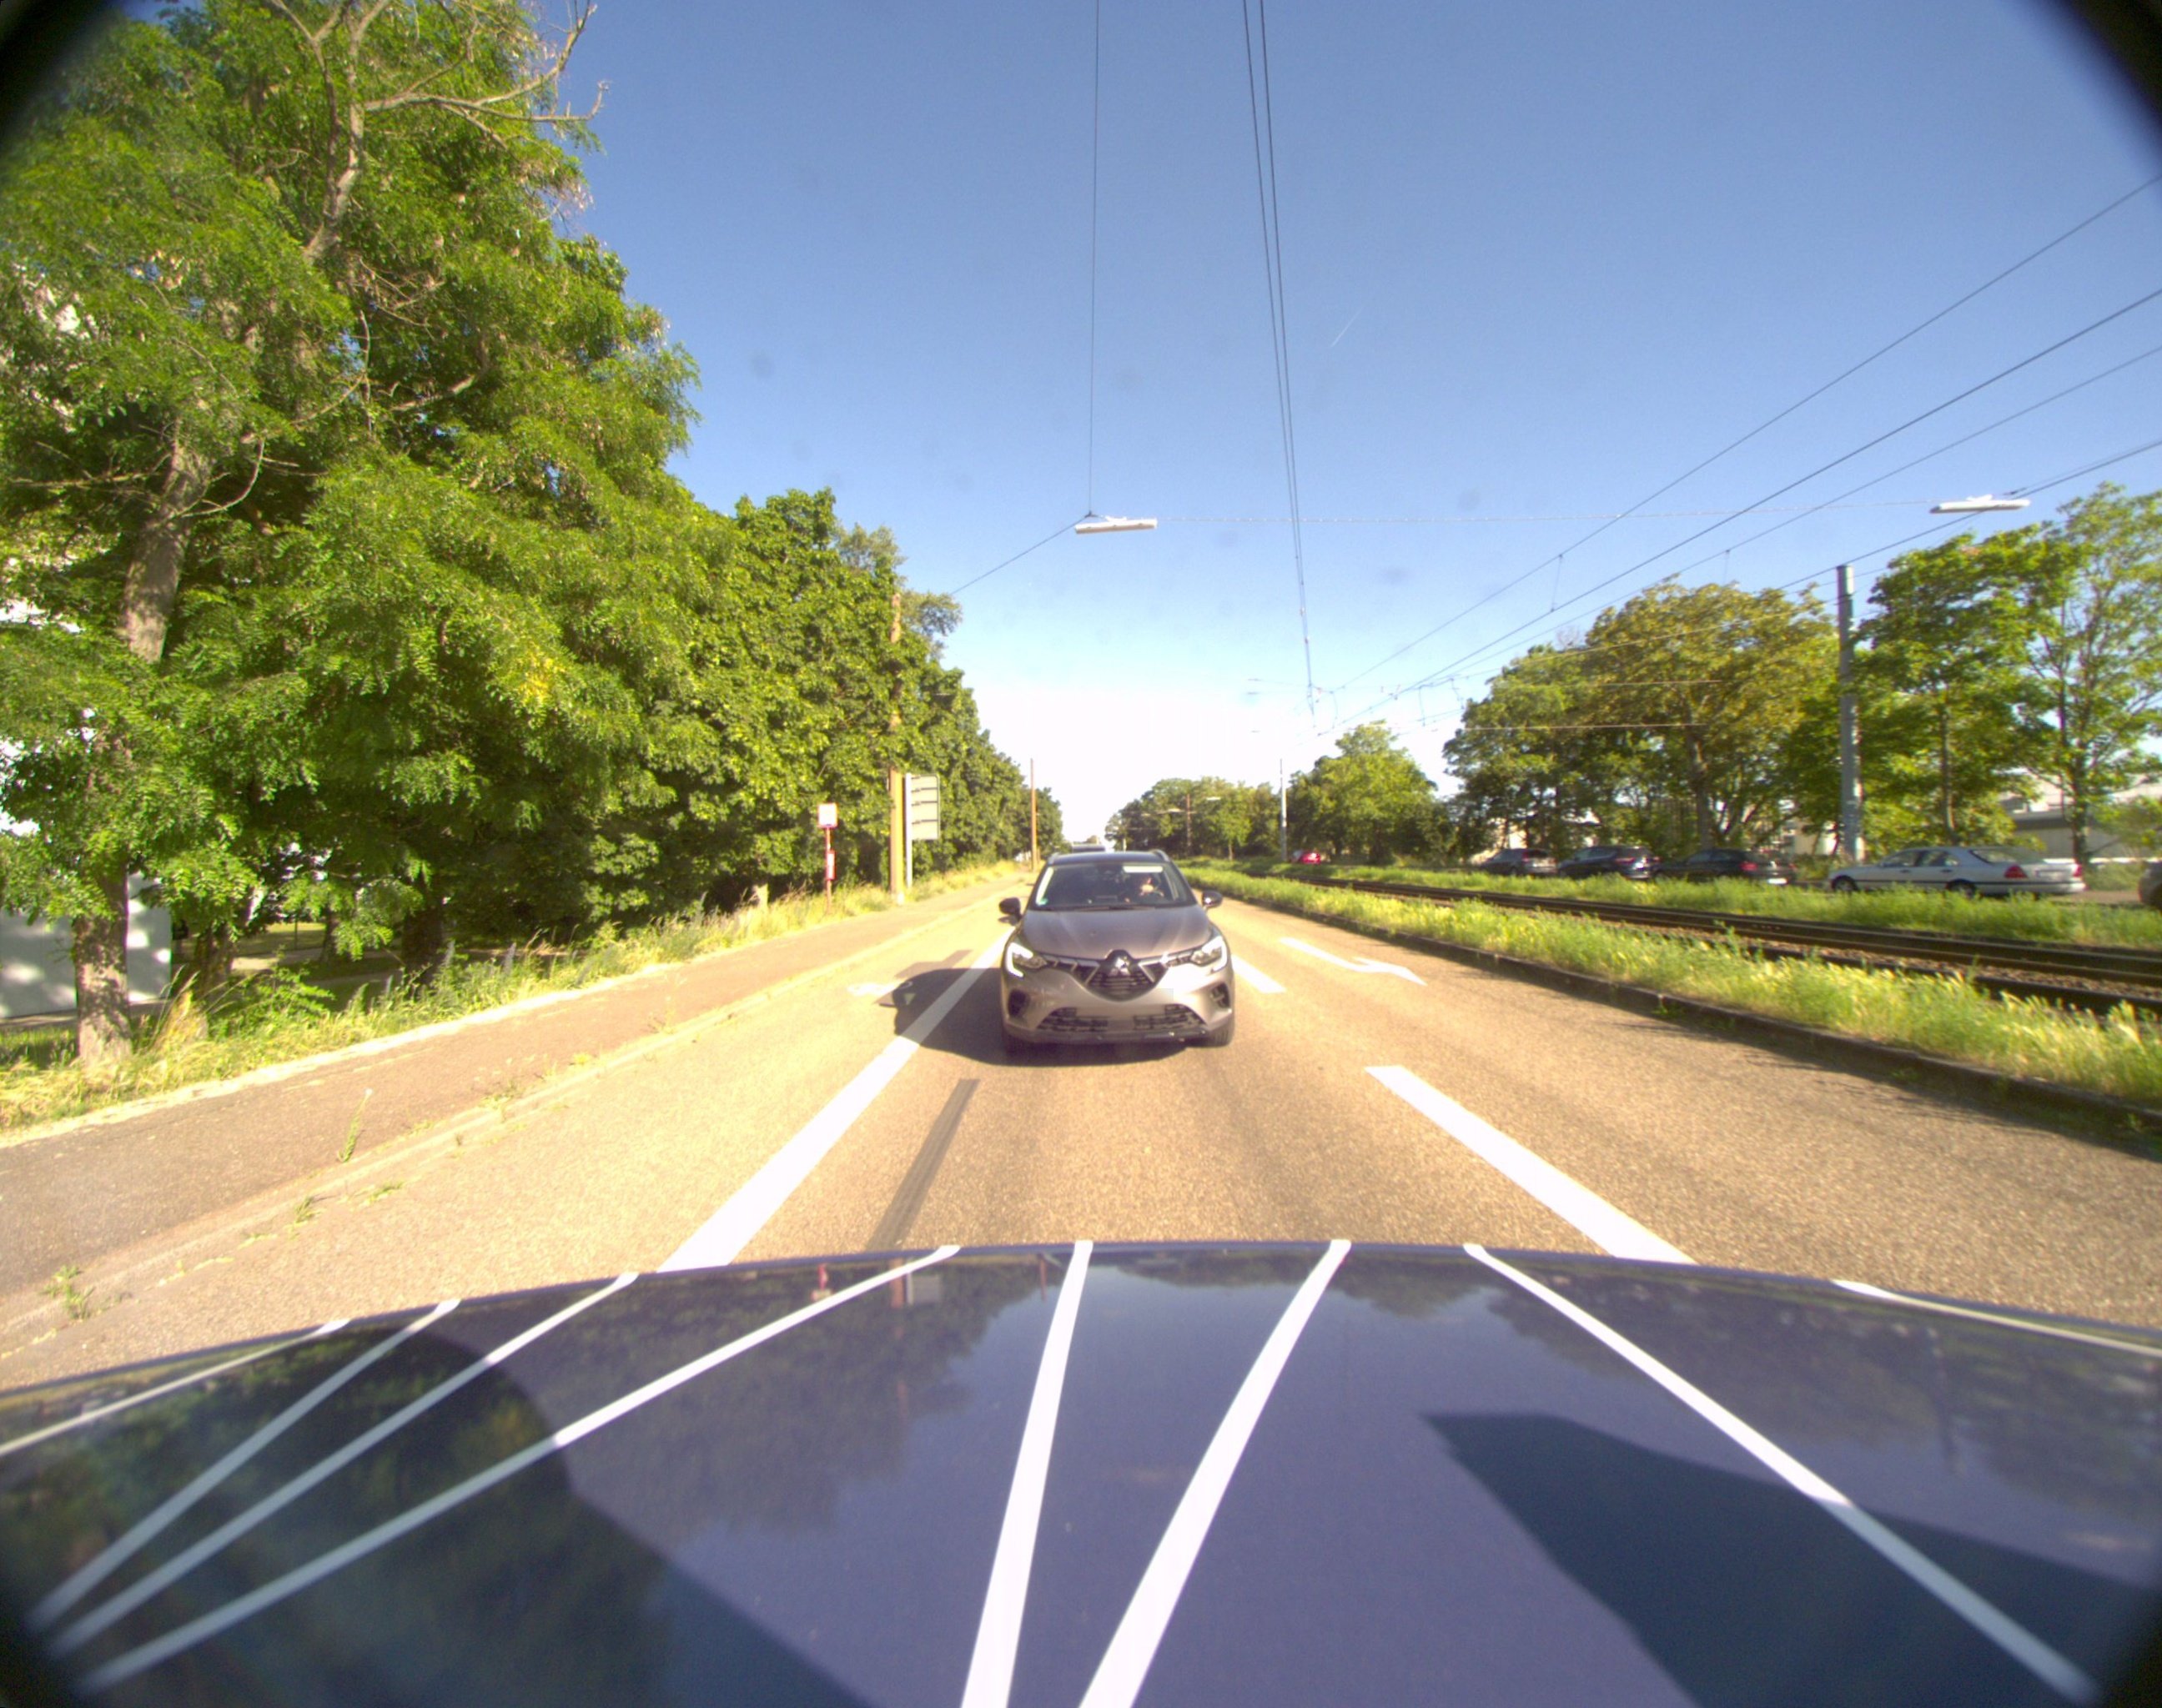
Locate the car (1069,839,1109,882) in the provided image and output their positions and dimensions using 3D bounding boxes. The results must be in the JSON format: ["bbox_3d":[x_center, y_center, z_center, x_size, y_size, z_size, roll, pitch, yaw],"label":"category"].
[{"bbox_3d":[0.372,0.363,41.897,1.999,2.198,4.786,-1,-1,-1],"label":"car"}]

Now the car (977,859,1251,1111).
[{"bbox_3d":[0.180,0.883,7.316,1.796,1.583,4.529,-1,0,-1],"label":"car"}]

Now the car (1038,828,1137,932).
[{"bbox_3d":[0.164,0.549,17.829,1.998,2.113,4.000,-2,0,1],"label":"car"}]

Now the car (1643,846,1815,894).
[{"bbox_3d":[21.345,0.489,25.327,1.960,1.417,4.488,-2,0,1],"label":"car"}]

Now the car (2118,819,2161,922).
[{"bbox_3d":[21.244,0.272,12.433,2.207,1.923,4.685,-2,0,2],"label":"car"}]

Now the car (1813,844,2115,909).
[{"bbox_3d":[21.545,0.504,18.933,2.130,1.372,4.616,-2,0,-1],"label":"car"}]

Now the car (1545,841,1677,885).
[{"bbox_3d":[21.307,0.342,30.824,2.130,1.578,4.616,-2,0,1],"label":"car"}]

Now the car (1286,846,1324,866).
[{"bbox_3d":[21.001,0.187,71.465,2.321,1.723,4.798,-2,0,3],"label":"car"}]

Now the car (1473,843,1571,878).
[{"bbox_3d":[21.565,0.327,37.406,2.130,1.554,4.560,-2,0,0],"label":"car"}]
